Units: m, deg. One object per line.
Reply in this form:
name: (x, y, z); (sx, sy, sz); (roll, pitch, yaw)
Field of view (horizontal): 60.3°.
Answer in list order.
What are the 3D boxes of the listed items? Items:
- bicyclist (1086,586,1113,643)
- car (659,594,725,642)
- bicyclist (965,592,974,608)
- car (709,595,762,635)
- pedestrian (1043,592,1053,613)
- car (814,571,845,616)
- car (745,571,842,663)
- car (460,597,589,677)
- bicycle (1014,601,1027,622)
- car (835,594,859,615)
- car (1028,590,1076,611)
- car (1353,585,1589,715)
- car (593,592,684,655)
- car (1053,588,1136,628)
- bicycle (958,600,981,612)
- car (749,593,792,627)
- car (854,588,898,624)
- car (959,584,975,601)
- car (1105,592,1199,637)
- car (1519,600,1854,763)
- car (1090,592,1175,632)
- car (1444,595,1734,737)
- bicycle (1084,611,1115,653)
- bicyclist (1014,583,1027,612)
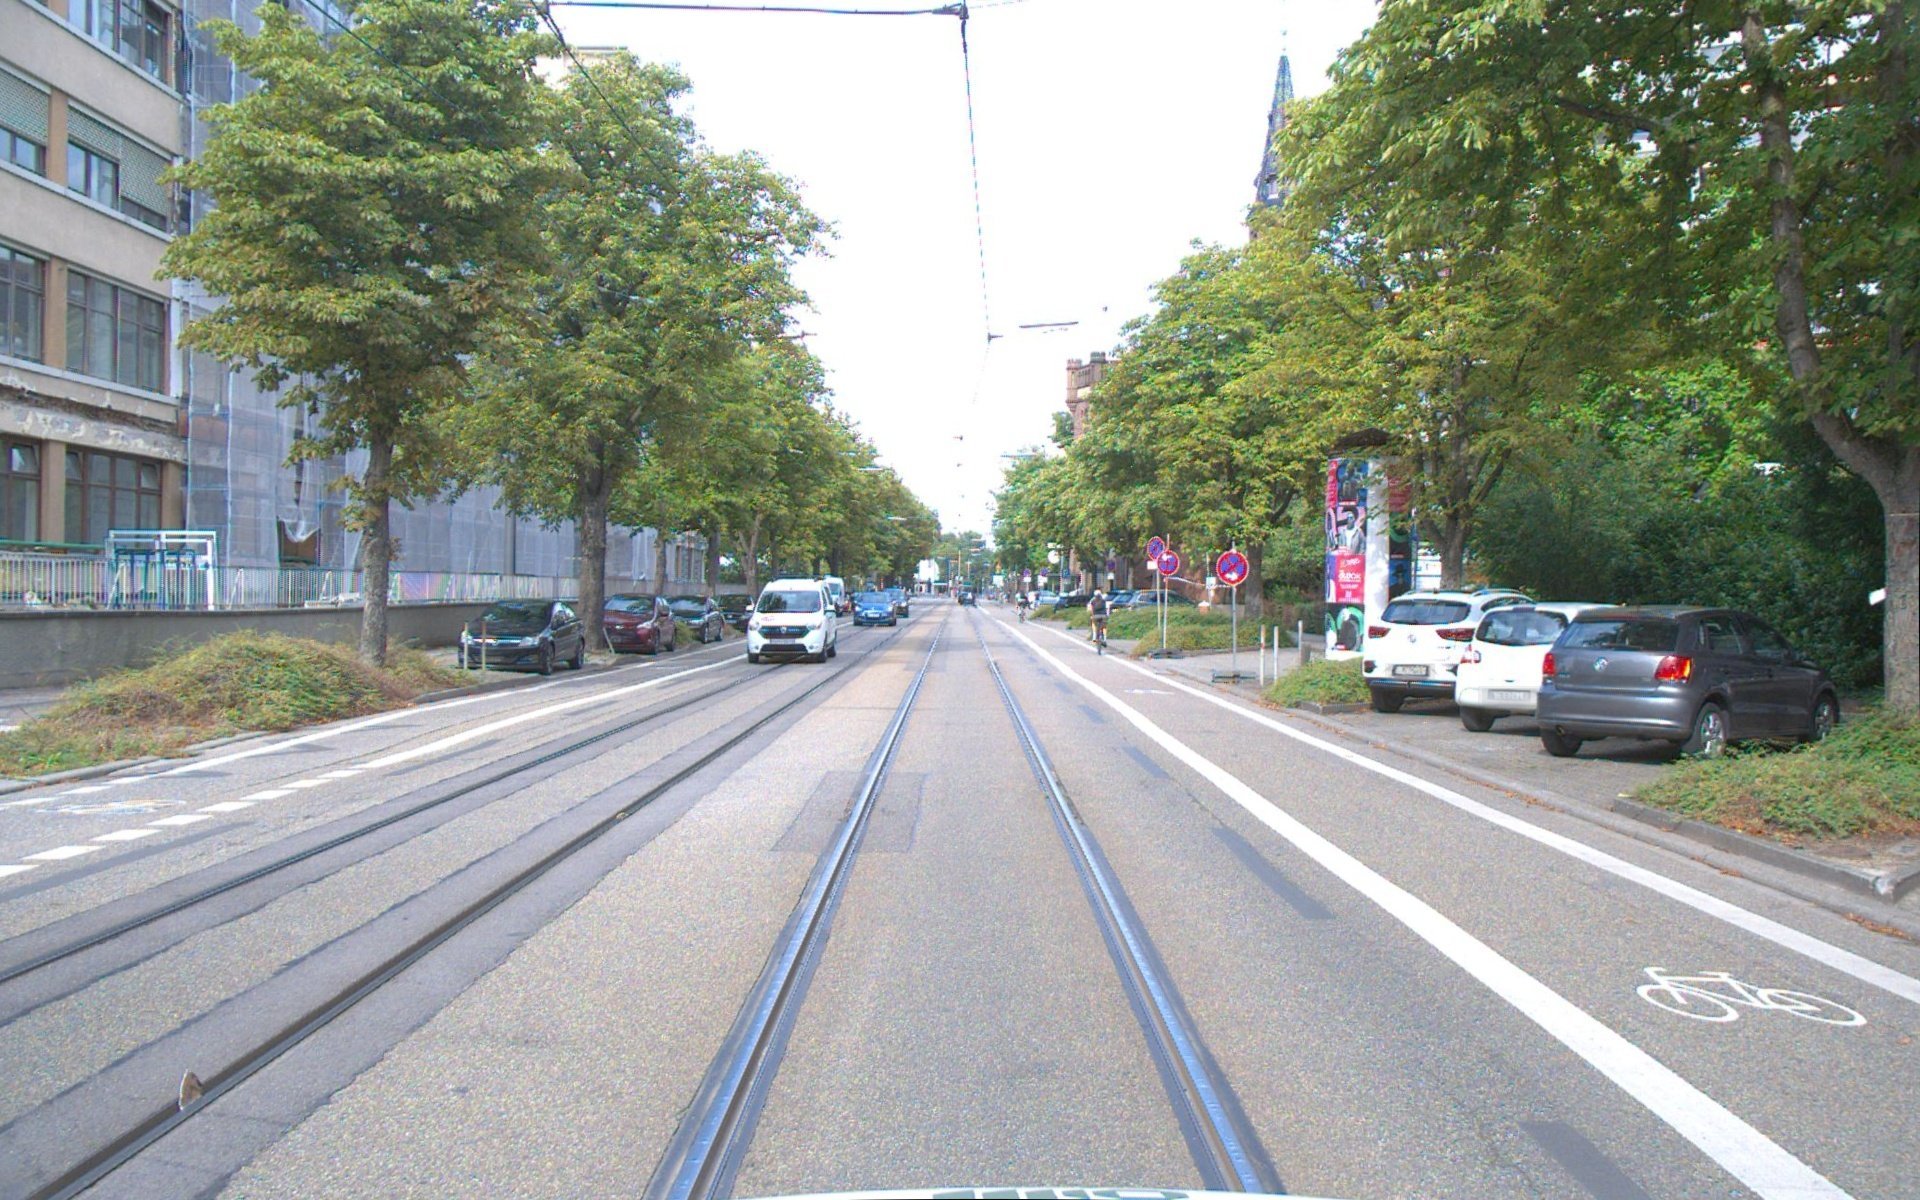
bicyclist: (3.697, 0.368, 43.871); (0.581, 1.485, 0.875); (1, 0, -2)
car: (-8.380, 0.538, 51.974); (1.558, 1.427, 3.961); (1, 0, -2)
bicyclist: (0.979, 0.001, 168.130); (0.828, 1.531, 0.769); (1, 0, 8)
car: (-8.411, 0.541, 62.286); (1.558, 1.427, 3.961); (1, 0, -2)
pedestrian: (7.740, 0.246, 144.818); (0.732, 1.821, 0.731); (1, -1, 15)
car: (-8.378, -0.424, 106.353); (1.686, 2.751, 5.468); (1, 0, -2)
car: (-3.669, 0.350, 37.041); (1.696, 1.917, 4.378); (1, 0, 0)
car: (-8.380, 0.678, 32.114); (1.558, 1.427, 3.961); (1, 0, -2)
bicycle: (3.169, 0.578, 86.921); (0.650, 1.062, 1.841); (1, 0, 0)
car: (-8.123, 0.303, 118.840); (1.558, 1.427, 3.961); (1, 0, -2)
car: (8.074, 0.036, 144.868); (3.910, 1.722, 1.998); (1, 0, -6)
car: (7.049, 0.636, 22.644); (1.654, 1.630, 3.621); (0, 0, 44)
car: (-8.264, 0.566, 42.775); (1.602, 1.522, 3.962); (1, 0, -1)
car: (5.762, 0.352, 70.615); (1.654, 1.630, 3.621); (0, 0, 44)
bicycle: (0.934, 0.619, 168.138); (2.226, 1.210, 0.769); (1, 0, 7)
car: (-8.293, 0.436, 72.586); (1.558, 1.427, 3.961); (1, 0, -2)
car: (-3.655, 0.224, 72.633); (1.697, 1.522, 4.378); (0, 1, 0)
car: (0.789, -0.863, 192.734); (1.758, 1.855, 4.677); (1, 0, -1)
car: (7.181, 0.528, 61.722); (1.654, 1.630, 3.621); (0, 0, 44)
car: (7.306, 0.744, 16.504); (3.612, 1.444, 1.658); (1, 0, -40)
car: (7.148, 0.503, 68.487); (1.654, 1.630, 3.621); (0, 0, 44)
car: (7.436, 0.720, 19.434); (3.612, 1.500, 1.658); (1, 0, -40)
bicycle: (3.686, 0.840, 43.875); (0.581, 1.062, 1.977); (1, 0, -2)
bicyclist: (3.183, -0.141, 86.846); (0.645, 1.522, 0.929); (1, 0, 0)
